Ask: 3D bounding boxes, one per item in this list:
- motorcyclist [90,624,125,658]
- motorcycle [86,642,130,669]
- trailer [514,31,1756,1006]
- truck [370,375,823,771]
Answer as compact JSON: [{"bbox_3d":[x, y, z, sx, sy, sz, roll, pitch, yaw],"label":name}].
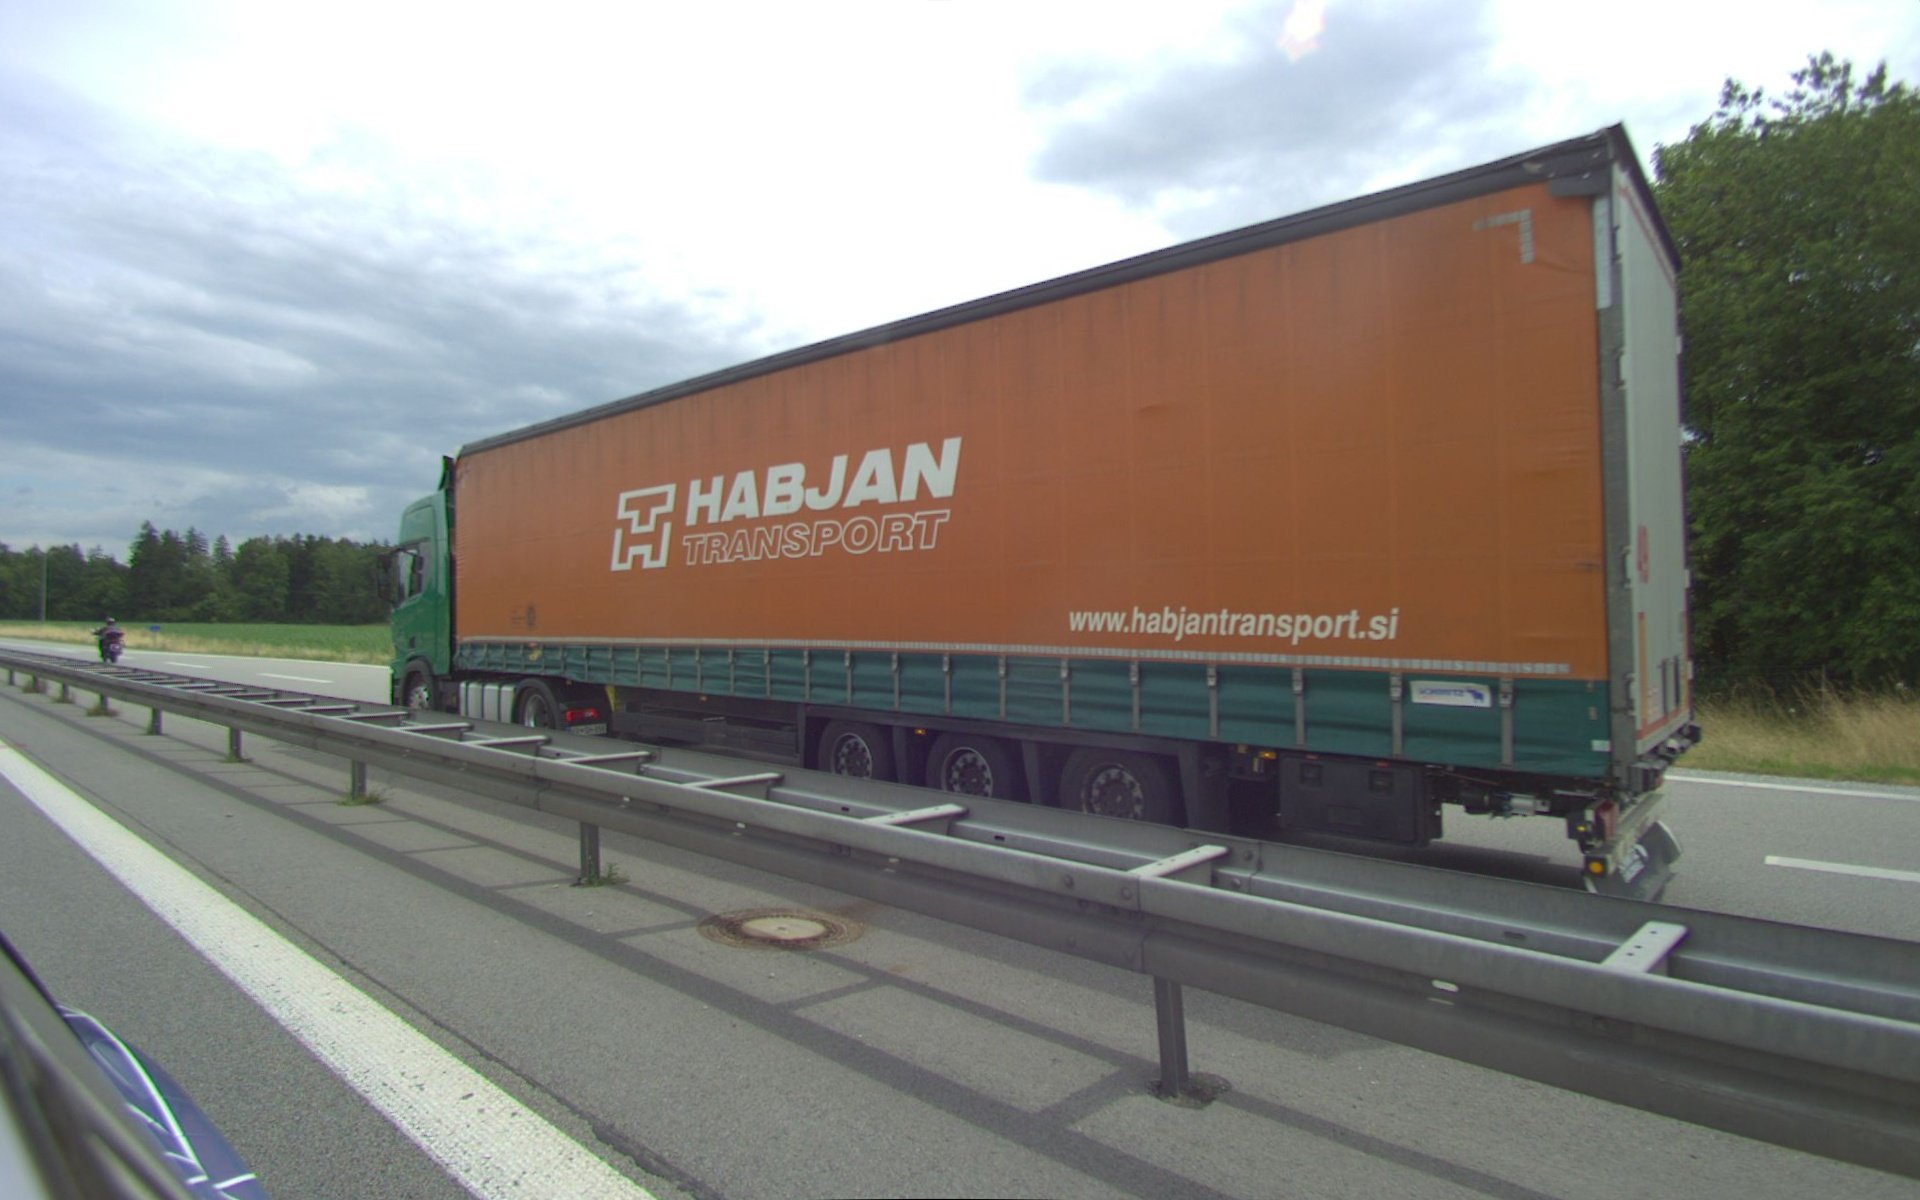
[{"bbox_3d":[-32.424,1.559,38.493,0.960,1.218,0.852,0,0,40],"label":"motorcyclist"},{"bbox_3d":[-32.368,2.082,38.452,2.722,0.941,0.846,-1,0,41],"label":"motorcycle"},{"bbox_3d":[-0.045,-0.347,9.495,11.640,4.245,3.117,0,0,42],"label":"trailer"},{"bbox_3d":[-5.358,-0.291,14.254,6.777,4.245,3.090,0,0,41],"label":"truck"}]
